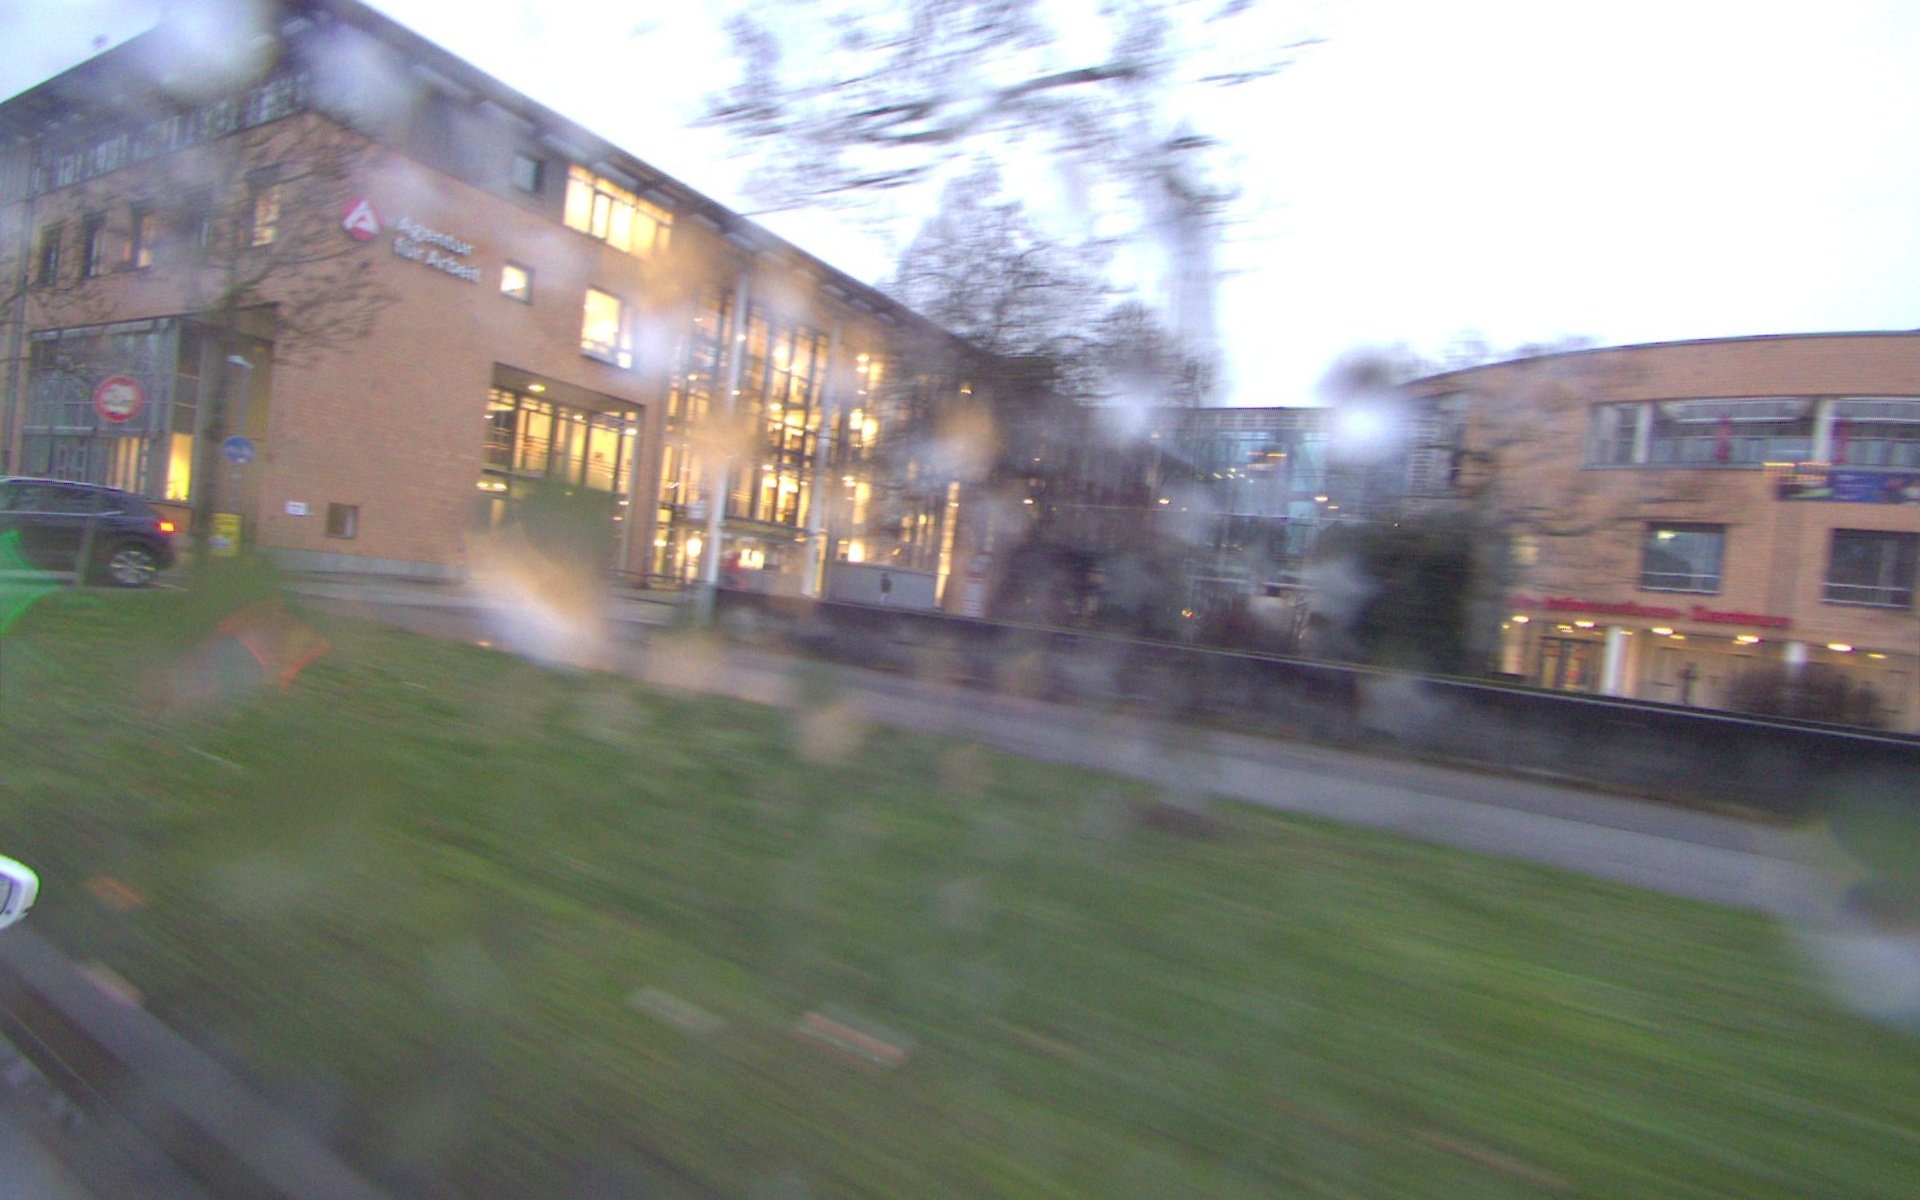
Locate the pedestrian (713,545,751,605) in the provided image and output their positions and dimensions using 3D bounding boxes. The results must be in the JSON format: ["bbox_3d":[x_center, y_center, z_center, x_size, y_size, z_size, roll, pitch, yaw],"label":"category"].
[{"bbox_3d":[-6.720,-0.728,29.678,0.726,1.658,0.630,7,2,37],"label":"pedestrian"}]

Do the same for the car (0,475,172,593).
[{"bbox_3d":[-14.030,-1.026,14.485,1.737,1.582,3.858,7,3,33],"label":"car"}]
